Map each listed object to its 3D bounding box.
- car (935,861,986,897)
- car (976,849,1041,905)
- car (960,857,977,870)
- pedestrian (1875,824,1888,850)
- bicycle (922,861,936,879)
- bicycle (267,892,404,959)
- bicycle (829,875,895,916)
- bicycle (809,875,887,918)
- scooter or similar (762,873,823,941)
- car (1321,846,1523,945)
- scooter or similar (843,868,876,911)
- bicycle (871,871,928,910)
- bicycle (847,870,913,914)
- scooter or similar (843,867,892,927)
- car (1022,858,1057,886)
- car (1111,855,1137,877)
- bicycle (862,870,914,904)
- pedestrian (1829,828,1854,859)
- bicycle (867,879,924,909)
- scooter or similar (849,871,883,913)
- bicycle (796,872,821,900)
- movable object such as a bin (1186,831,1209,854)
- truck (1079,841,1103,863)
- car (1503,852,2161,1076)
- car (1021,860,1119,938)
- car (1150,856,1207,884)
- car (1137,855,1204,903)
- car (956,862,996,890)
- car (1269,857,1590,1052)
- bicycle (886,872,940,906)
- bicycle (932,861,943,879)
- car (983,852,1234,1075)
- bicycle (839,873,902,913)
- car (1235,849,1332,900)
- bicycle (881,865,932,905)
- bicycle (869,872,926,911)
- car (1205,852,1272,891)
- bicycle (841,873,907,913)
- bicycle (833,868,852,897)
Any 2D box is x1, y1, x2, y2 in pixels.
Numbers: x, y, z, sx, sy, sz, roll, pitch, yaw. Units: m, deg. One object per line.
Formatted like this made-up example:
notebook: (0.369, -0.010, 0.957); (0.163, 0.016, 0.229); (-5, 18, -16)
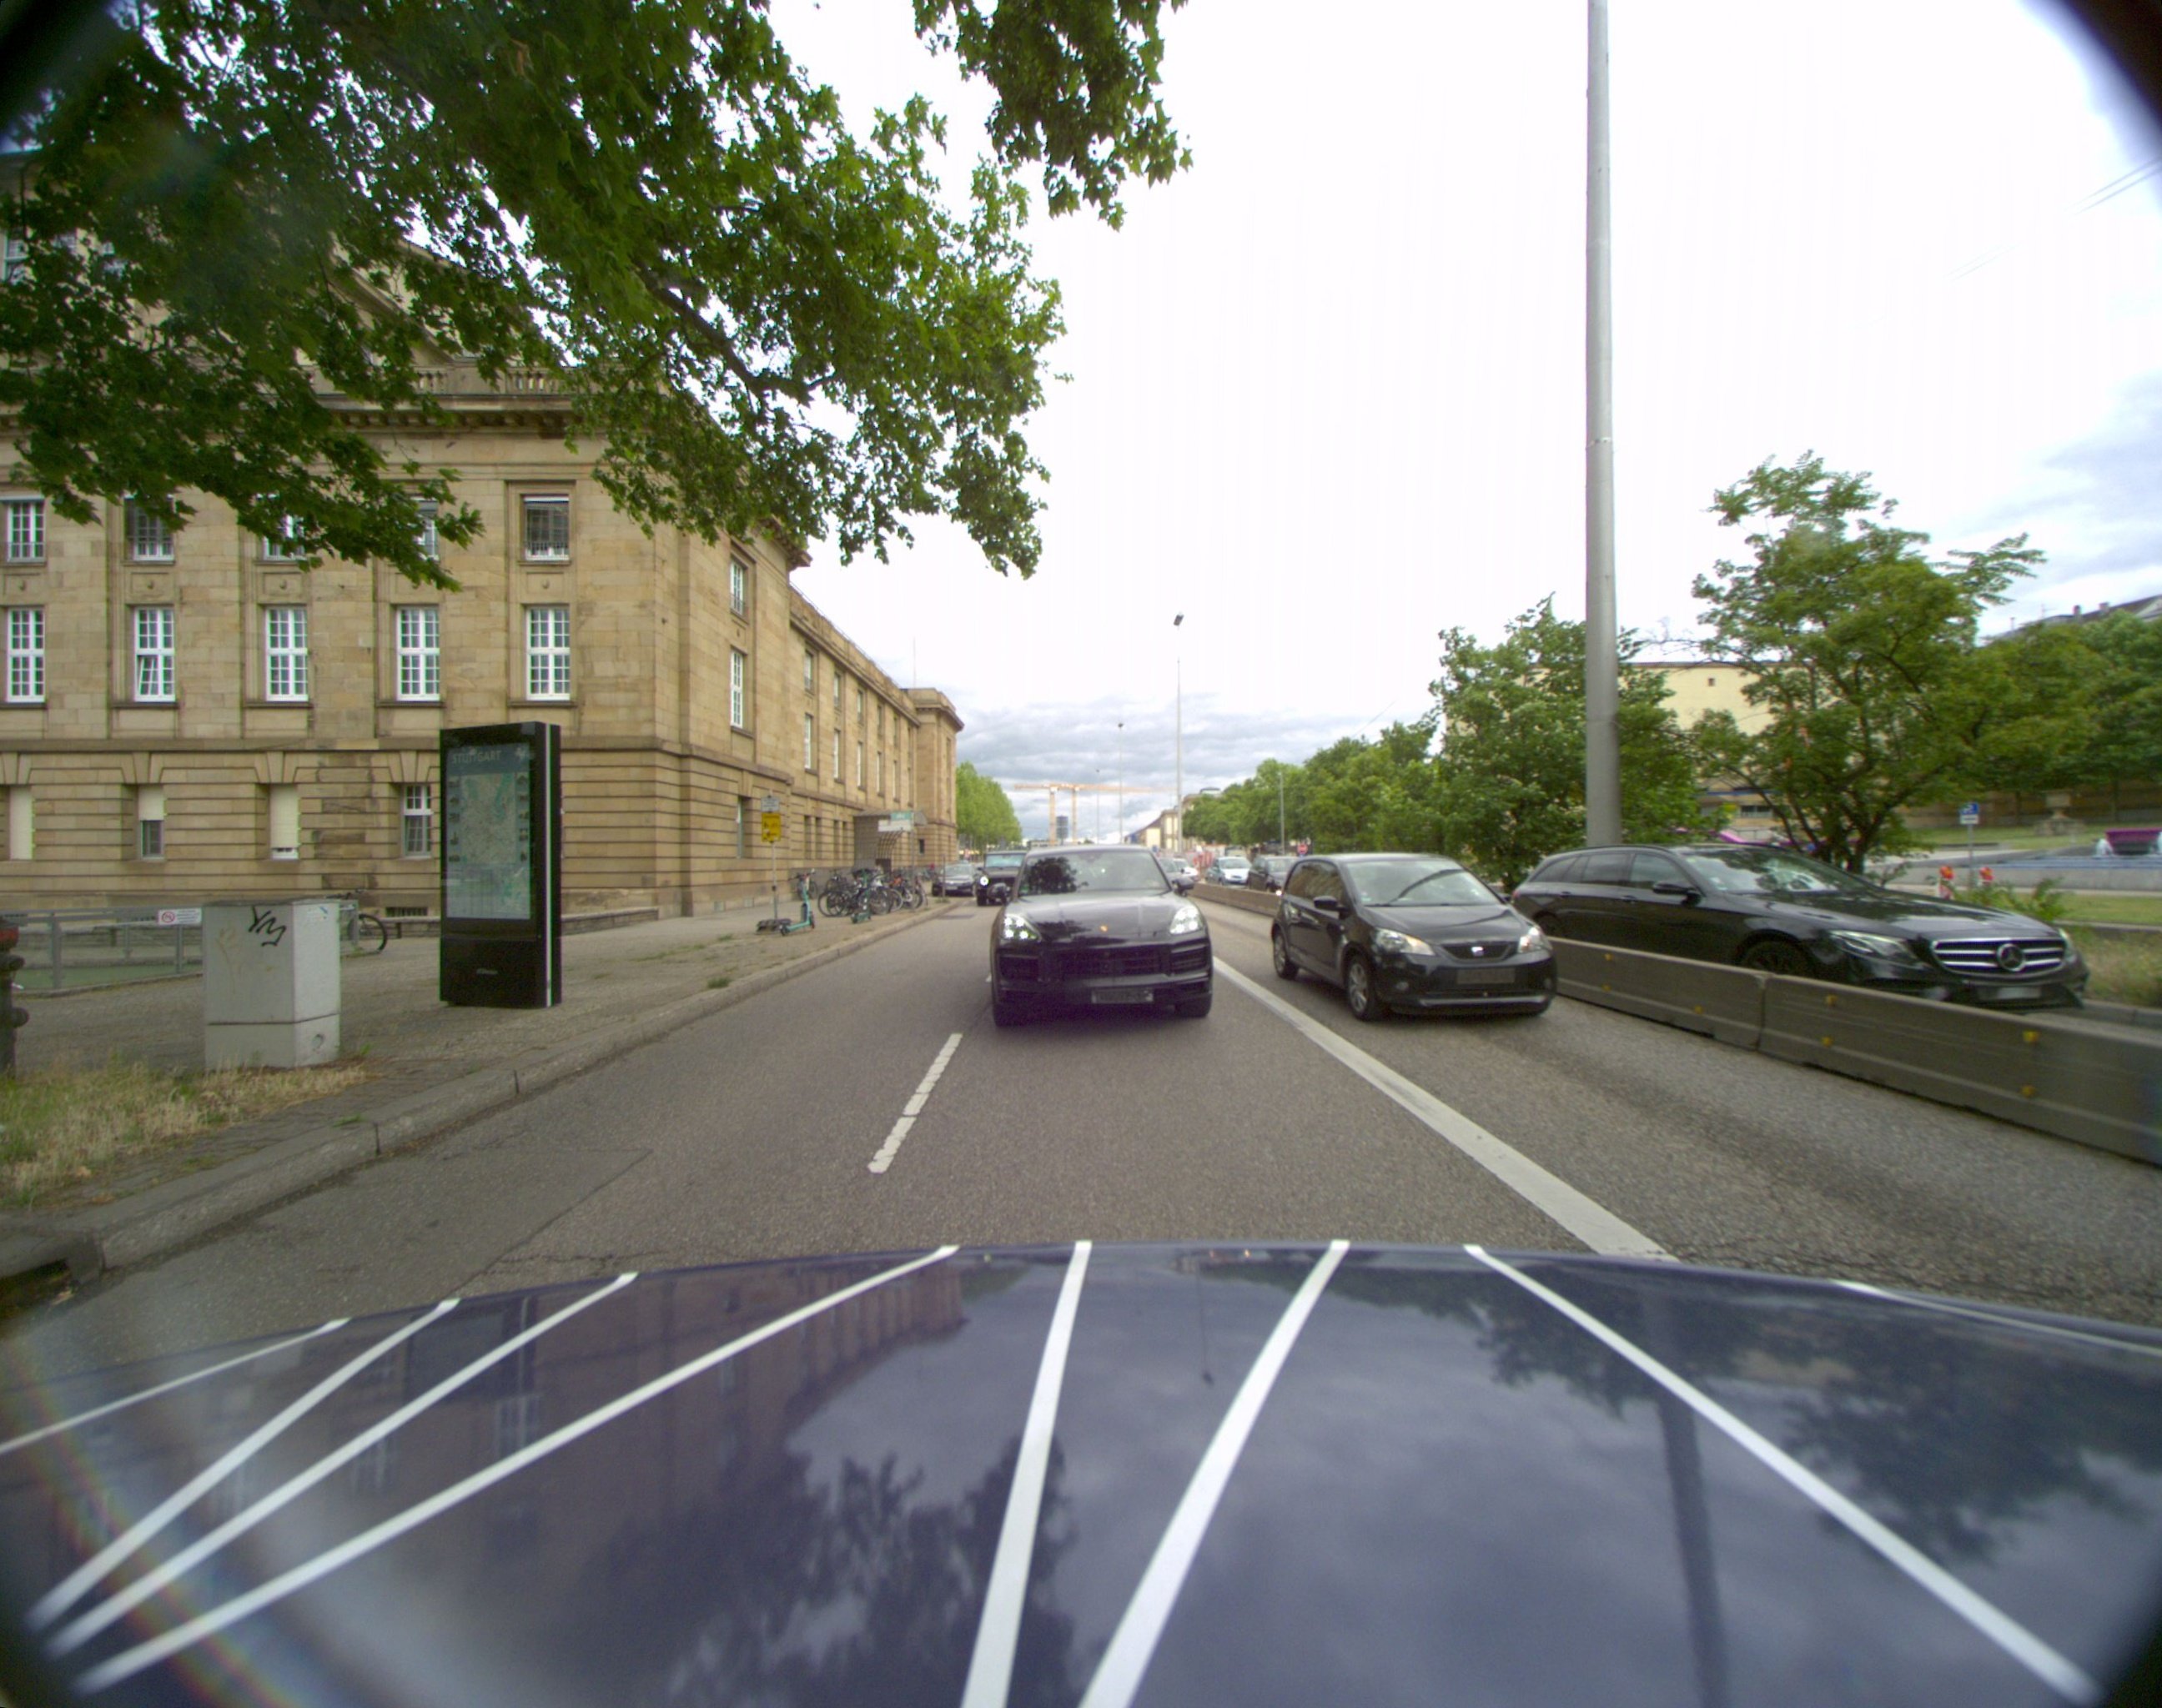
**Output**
car: (-5.461, 1.092, 34.765); (1.793, 1.477, 4.324); (-1, 0, -2)
car: (-2.617, 0.787, 28.400); (1.952, 1.914, 4.399); (-1, 0, 0)
car: (-13.365, 1.111, 90.682); (1.584, 1.521, 3.502); (-2, 0, -2)
pedestrian: (50.282, -1.085, 47.742); (0.348, 1.602, 0.405); (-3, 1, 1)
bicycle: (-10.415, 1.076, 52.183); (0.557, 1.210, 1.915); (-1, 0, 0)
bicycle: (-13.228, 1.265, 13.500); (2.016, 1.119, 0.389); (-1, 1, 0)
bicycle: (-6.098, 1.160, 21.148); (1.731, 1.085, 0.426); (-2, 0, 13)
bicycle: (-6.264, 1.140, 20.438); (1.860, 1.085, 0.666); (-2, 0, 13)
scooter or similar: (-5.859, 1.053, 15.499); (0.432, 1.273, 1.435); (-2, 1, 11)
car: (6.565, 0.690, 15.362); (1.928, 1.626, 4.936); (-2, 0, 1)
scooter or similar: (-6.876, 1.087, 23.636); (0.563, 1.271, 1.148); (-2, 0, 6)
bicycle: (-5.573, 1.105, 23.399); (1.616, 1.123, 0.407); (-2, 0, -26)
bicycle: (-5.928, 1.101, 22.448); (1.762, 1.202, 0.604); (-2, 0, -3)
scooter or similar: (-5.093, 1.000, 18.204); (0.727, 1.323, 1.413); (-2, 1, -1)
car: (-2.348, 0.971, 43.693); (1.930, 1.501, 3.999); (-1, 0, -2)
car: (3.360, 0.909, 59.400); (1.731, 1.611, 3.944); (-2, 1, -1)
bicycle: (-6.199, 1.055, 24.401); (1.565, 1.022, 0.436); (-2, 0, 11)
pedestrian: (46.773, -0.652, 46.732); (0.693, 1.842, 0.804); (-3, 1, 1)
bicycle: (-5.995, 1.286, 24.539); (1.730, 0.912, 0.614); (-1, 1, 19)
scooter or similar: (-6.653, 1.156, 23.546); (0.426, 1.217, 1.313); (-2, 1, 10)
bicycle: (-10.391, 1.197, 28.992); (0.241, 0.992, 1.962); (-1, 0, 0)
movable object such as a bin: (11.312, -1.118, 73.823); (1.526, 2.172, 3.291); (-1, 0, -5)
truck: (1.292, -0.245, 101.349); (2.978, 2.757, 7.254); (0, 0, -1)
car: (6.443, 0.745, 7.541); (1.821, 1.490, 4.768); (-1, 0, 0)
car: (-0.248, 0.904, 17.109); (1.930, 1.501, 4.000); (-1, 0, -1)
car: (5.451, 0.853, 43.194); (1.884, 1.472, 4.700); (-2, 0, -10)
car: (3.038, 0.809, 26.620); (1.690, 1.496, 3.999); (-2, 0, -2)
car: (-5.761, 1.166, 41.949); (1.713, 1.418, 3.996); (0, 0, -1)
car: (3.137, 0.782, 7.677); (1.612, 1.464, 3.622); (-1, 0, 1)
bicycle: (-5.606, 1.169, 25.381); (1.664, 1.068, 0.586); (-1, 1, 19)
bicycle: (-10.165, 1.112, 53.733); (0.413, 1.280, 1.790); (-1, 0, 0)
car: (0.026, 0.833, 7.923); (1.909, 1.648, 4.198); (-1, 0, -6)
bicycle: (-5.970, 1.111, 21.560); (1.731, 1.085, 0.381); (-2, 0, 13)
car: (6.304, 0.592, 24.133); (1.664, 1.445, 4.196); (-2, 0, -4)
bicycle: (-5.738, 1.018, 24.975); (1.544, 1.249, 0.544); (-2, 0, 19)
bicycle: (-5.672, 1.141, 23.552); (1.616, 1.123, 0.469); (-2, 0, -26)
car: (6.533, 0.688, 31.972); (1.677, 1.498, 3.852); (-2, 0, -5)
bicycle: (-5.988, 1.134, 21.991); (1.731, 1.085, 0.575); (-2, 0, 9)
bicycle: (-10.441, 1.247, 33.283); (0.276, 1.176, 1.538); (-2, 1, 2)
